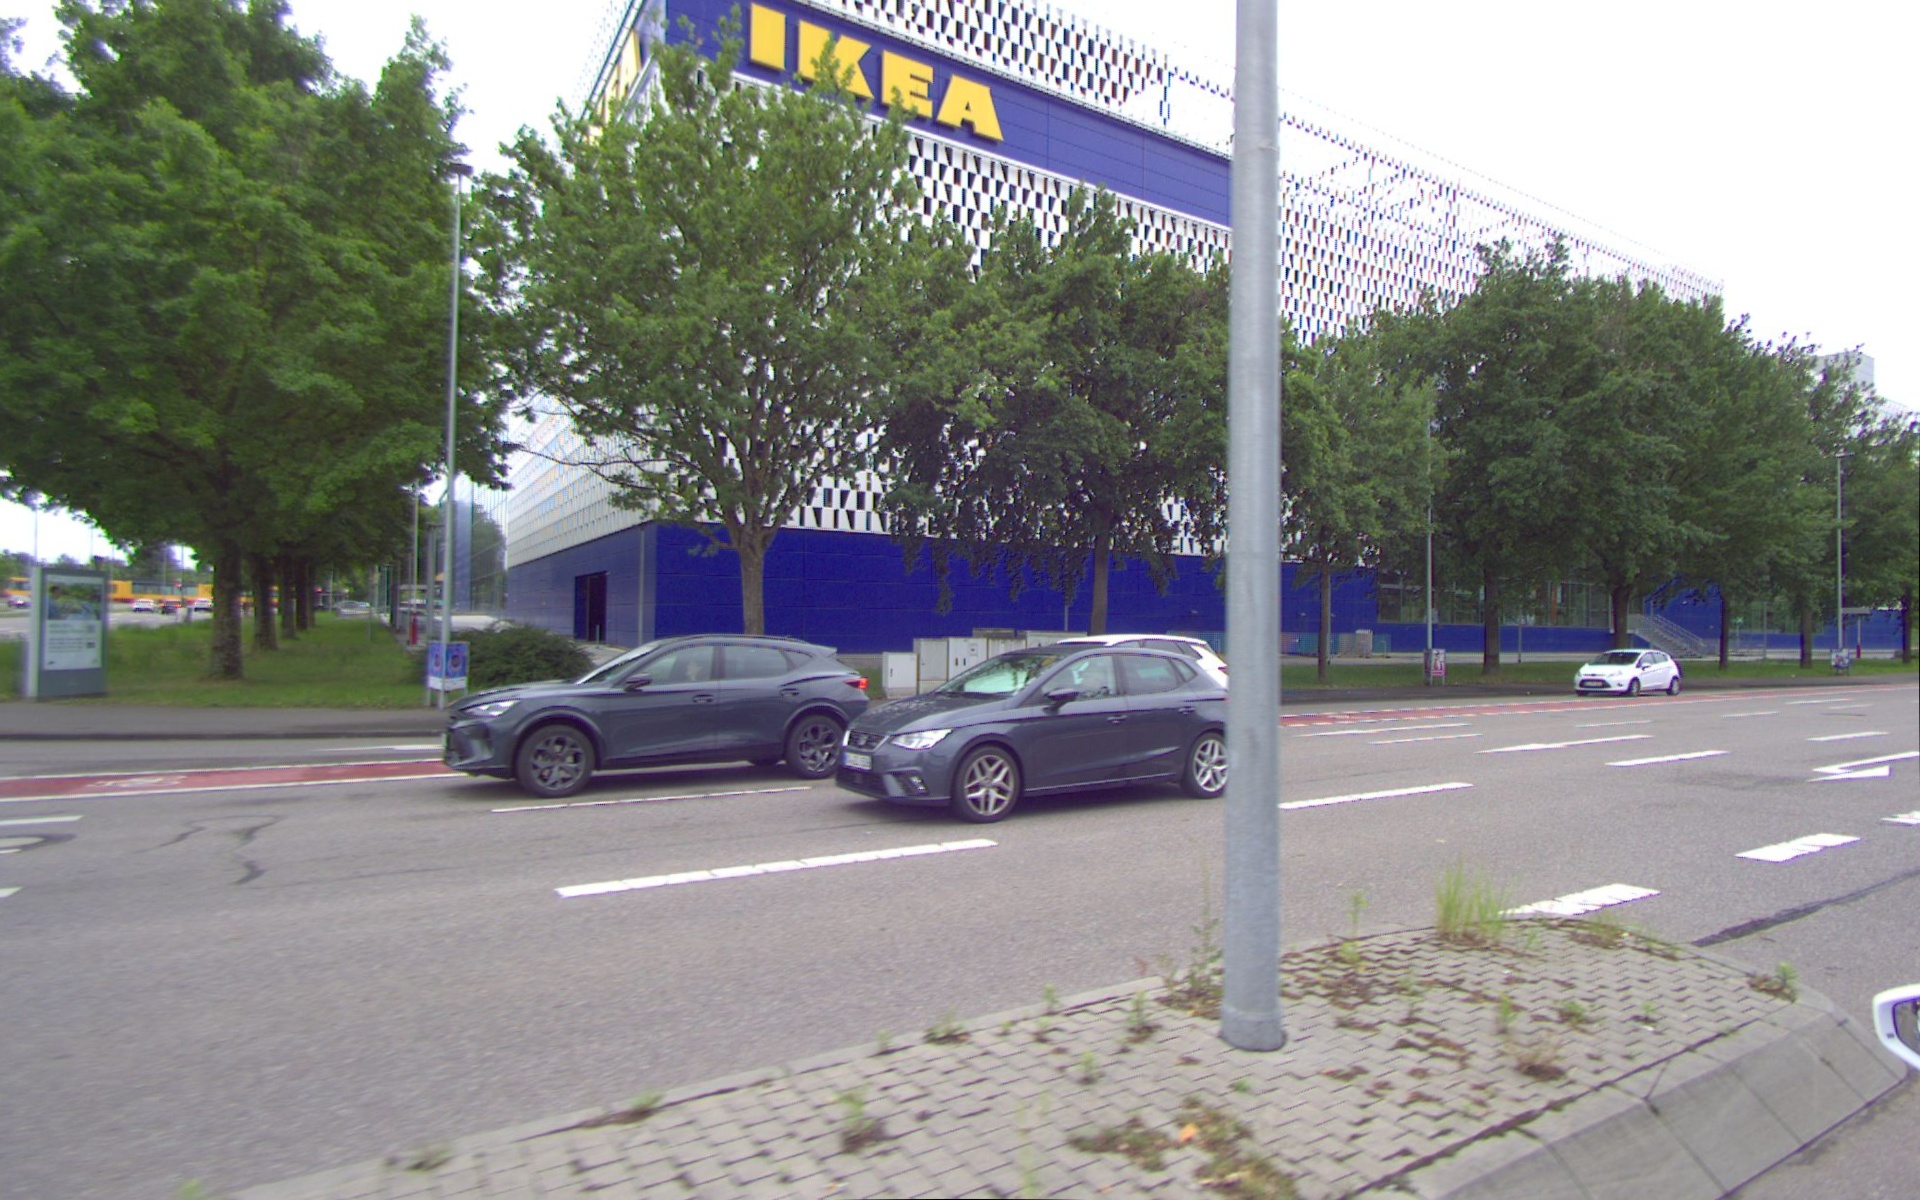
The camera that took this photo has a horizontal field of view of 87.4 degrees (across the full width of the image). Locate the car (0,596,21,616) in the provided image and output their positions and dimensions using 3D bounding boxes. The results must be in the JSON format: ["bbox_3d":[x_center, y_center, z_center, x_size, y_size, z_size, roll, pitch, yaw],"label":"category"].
[{"bbox_3d":[-108.289,0.665,113.716,1.977,2.272,3.967,1,-1,-30],"label":"car"}]

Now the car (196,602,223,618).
[{"bbox_3d":[-93.154,1.248,124.640,1.823,1.911,3.901,3,-1,-25],"label":"car"}]

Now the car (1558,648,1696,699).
[{"bbox_3d":[21.293,2.285,32.053,4.277,1.481,1.850,1,-3,-28],"label":"car"}]

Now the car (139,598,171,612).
[{"bbox_3d":[-88.574,0.566,110.565,1.763,1.471,3.908,2,-1,-25],"label":"car"}]

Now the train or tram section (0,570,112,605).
[{"bbox_3d":[-138.177,-1.818,145.489,23.023,4.903,3.602,1,0,-32],"label":"train or tram section"}]

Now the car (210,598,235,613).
[{"bbox_3d":[-95.423,0.750,129.992,1.823,1.911,3.901,0,-1,-25],"label":"car"}]

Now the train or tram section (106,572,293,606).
[{"bbox_3d":[-118.596,-1.588,157.566,23.023,4.903,3.602,1,0,-32],"label":"train or tram section"}]

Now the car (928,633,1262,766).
[{"bbox_3d":[1.993,1.331,14.446,4.525,1.615,1.984,1,-4,-32],"label":"car"}]

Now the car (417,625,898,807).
[{"bbox_3d":[-3.101,1.127,10.698,4.550,1.564,1.869,3,-3,-33],"label":"car"}]

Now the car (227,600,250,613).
[{"bbox_3d":[-98.463,0.829,137.122,1.824,1.742,3.899,-1,1,-26],"label":"car"}]

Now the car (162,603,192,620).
[{"bbox_3d":[-83.992,1.206,107.804,1.827,1.677,4.326,3,-1,-30],"label":"car"}]

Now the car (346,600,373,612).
[{"bbox_3d":[-104.745,1.085,175.359,3.953,2.041,1.984,-1,1,-30],"label":"car"}]

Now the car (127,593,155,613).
[{"bbox_3d":[-98.782,0.386,121.239,1.977,2.249,3.967,1,-1,-30],"label":"car"}]

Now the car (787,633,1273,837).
[{"bbox_3d":[0.739,1.067,9.359,4.285,1.481,1.847,1,-3,-33],"label":"car"}]
